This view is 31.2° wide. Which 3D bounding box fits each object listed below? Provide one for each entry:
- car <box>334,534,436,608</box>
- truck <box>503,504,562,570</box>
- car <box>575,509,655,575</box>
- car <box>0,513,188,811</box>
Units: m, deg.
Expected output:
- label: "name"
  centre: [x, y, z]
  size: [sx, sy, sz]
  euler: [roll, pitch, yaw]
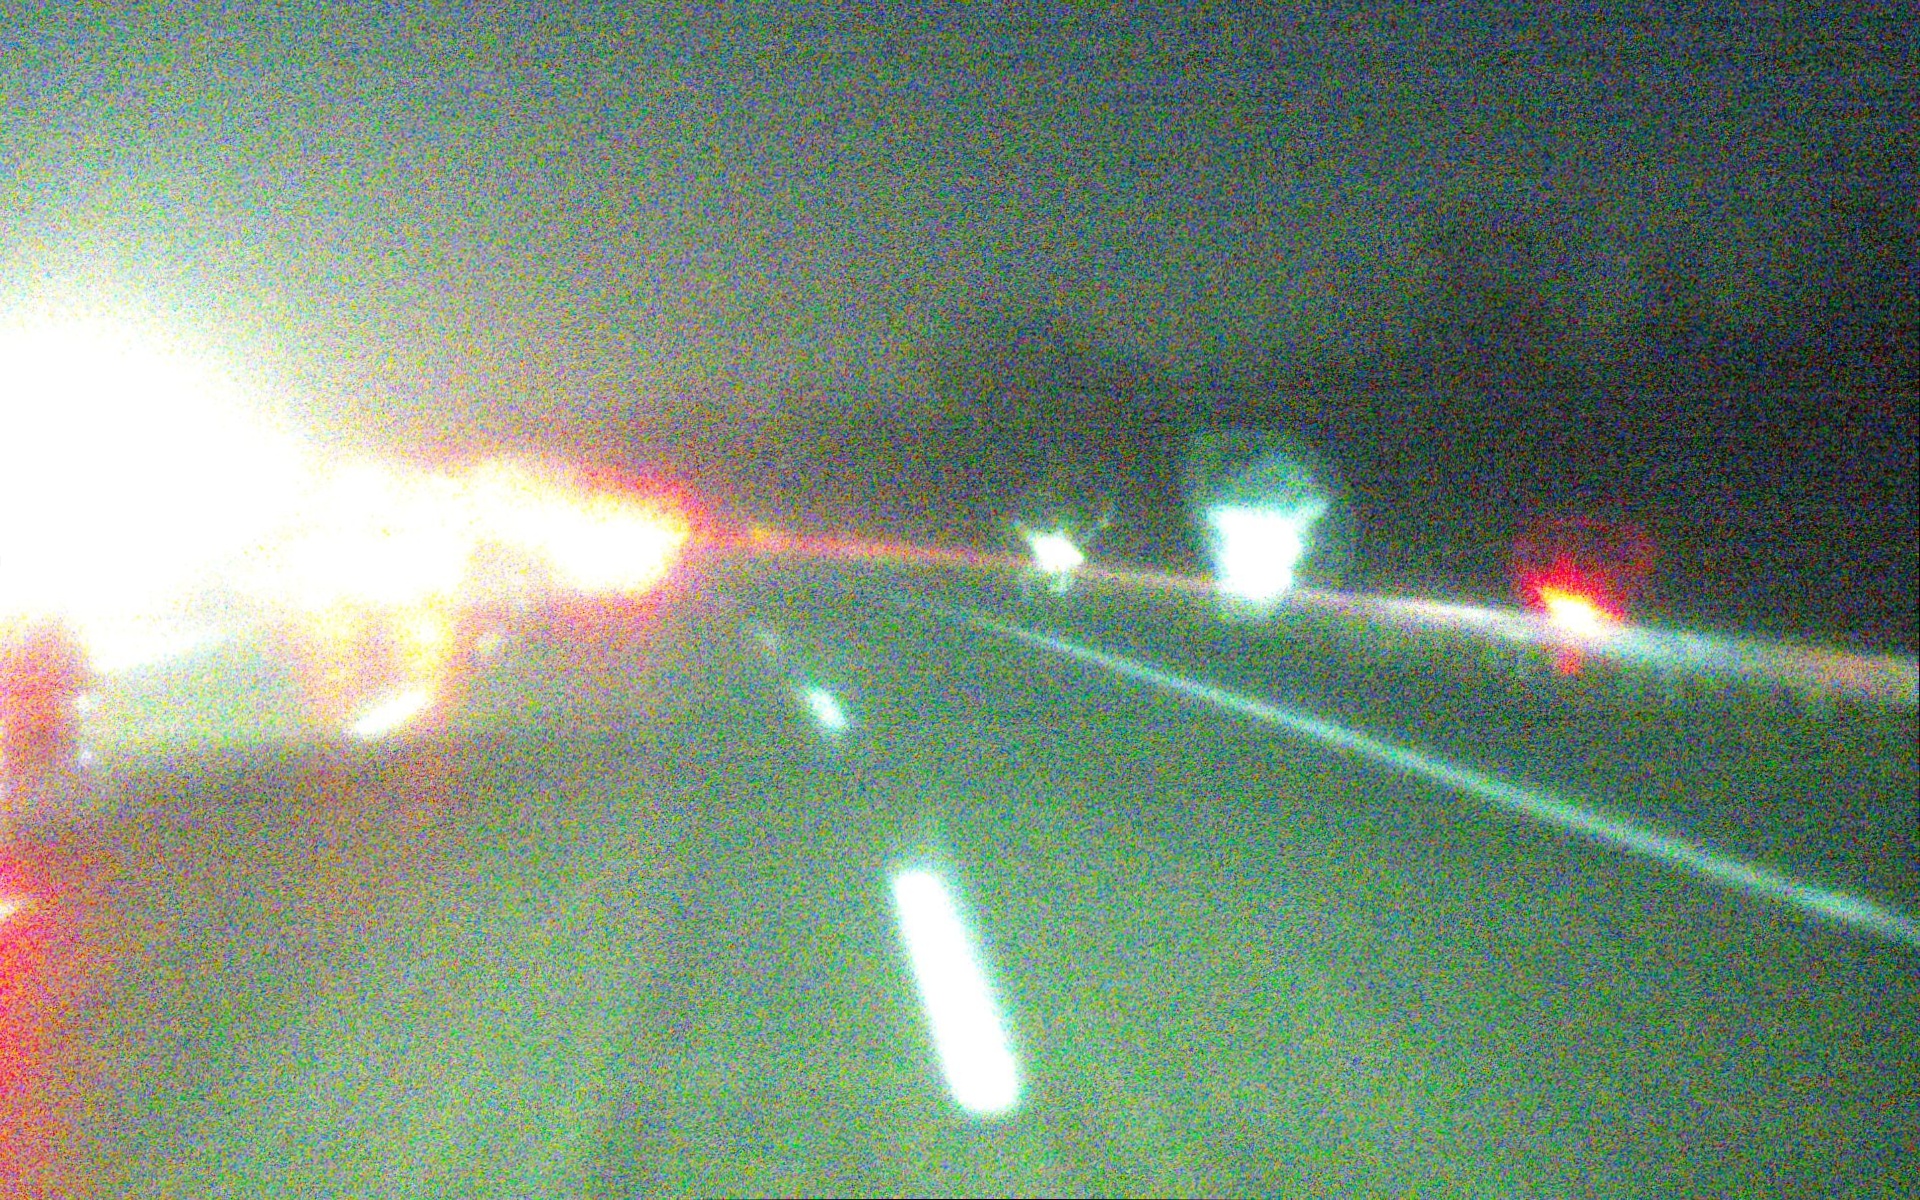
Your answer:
- label: "car"
  centre: [-9.934, -0.491, 59.602]
  size: [1.662, 1.232, 3.762]
  euler: [1, 0, -9]
- label: "truck"
  centre: [-20.274, -2.955, 162.950]
  size: [1.993, 3.032, 6.467]
  euler: [1, 0, -14]
- label: "car"
  centre: [-8.256, -1.404, 82.313]
  size: [1.801, 1.482, 4.001]
  euler: [2, 1, -5]
- label: "car"
  centre: [-5.908, 0.255, 19.652]
  size: [1.858, 1.535, 4.751]
  euler: [4, 1, 0]
